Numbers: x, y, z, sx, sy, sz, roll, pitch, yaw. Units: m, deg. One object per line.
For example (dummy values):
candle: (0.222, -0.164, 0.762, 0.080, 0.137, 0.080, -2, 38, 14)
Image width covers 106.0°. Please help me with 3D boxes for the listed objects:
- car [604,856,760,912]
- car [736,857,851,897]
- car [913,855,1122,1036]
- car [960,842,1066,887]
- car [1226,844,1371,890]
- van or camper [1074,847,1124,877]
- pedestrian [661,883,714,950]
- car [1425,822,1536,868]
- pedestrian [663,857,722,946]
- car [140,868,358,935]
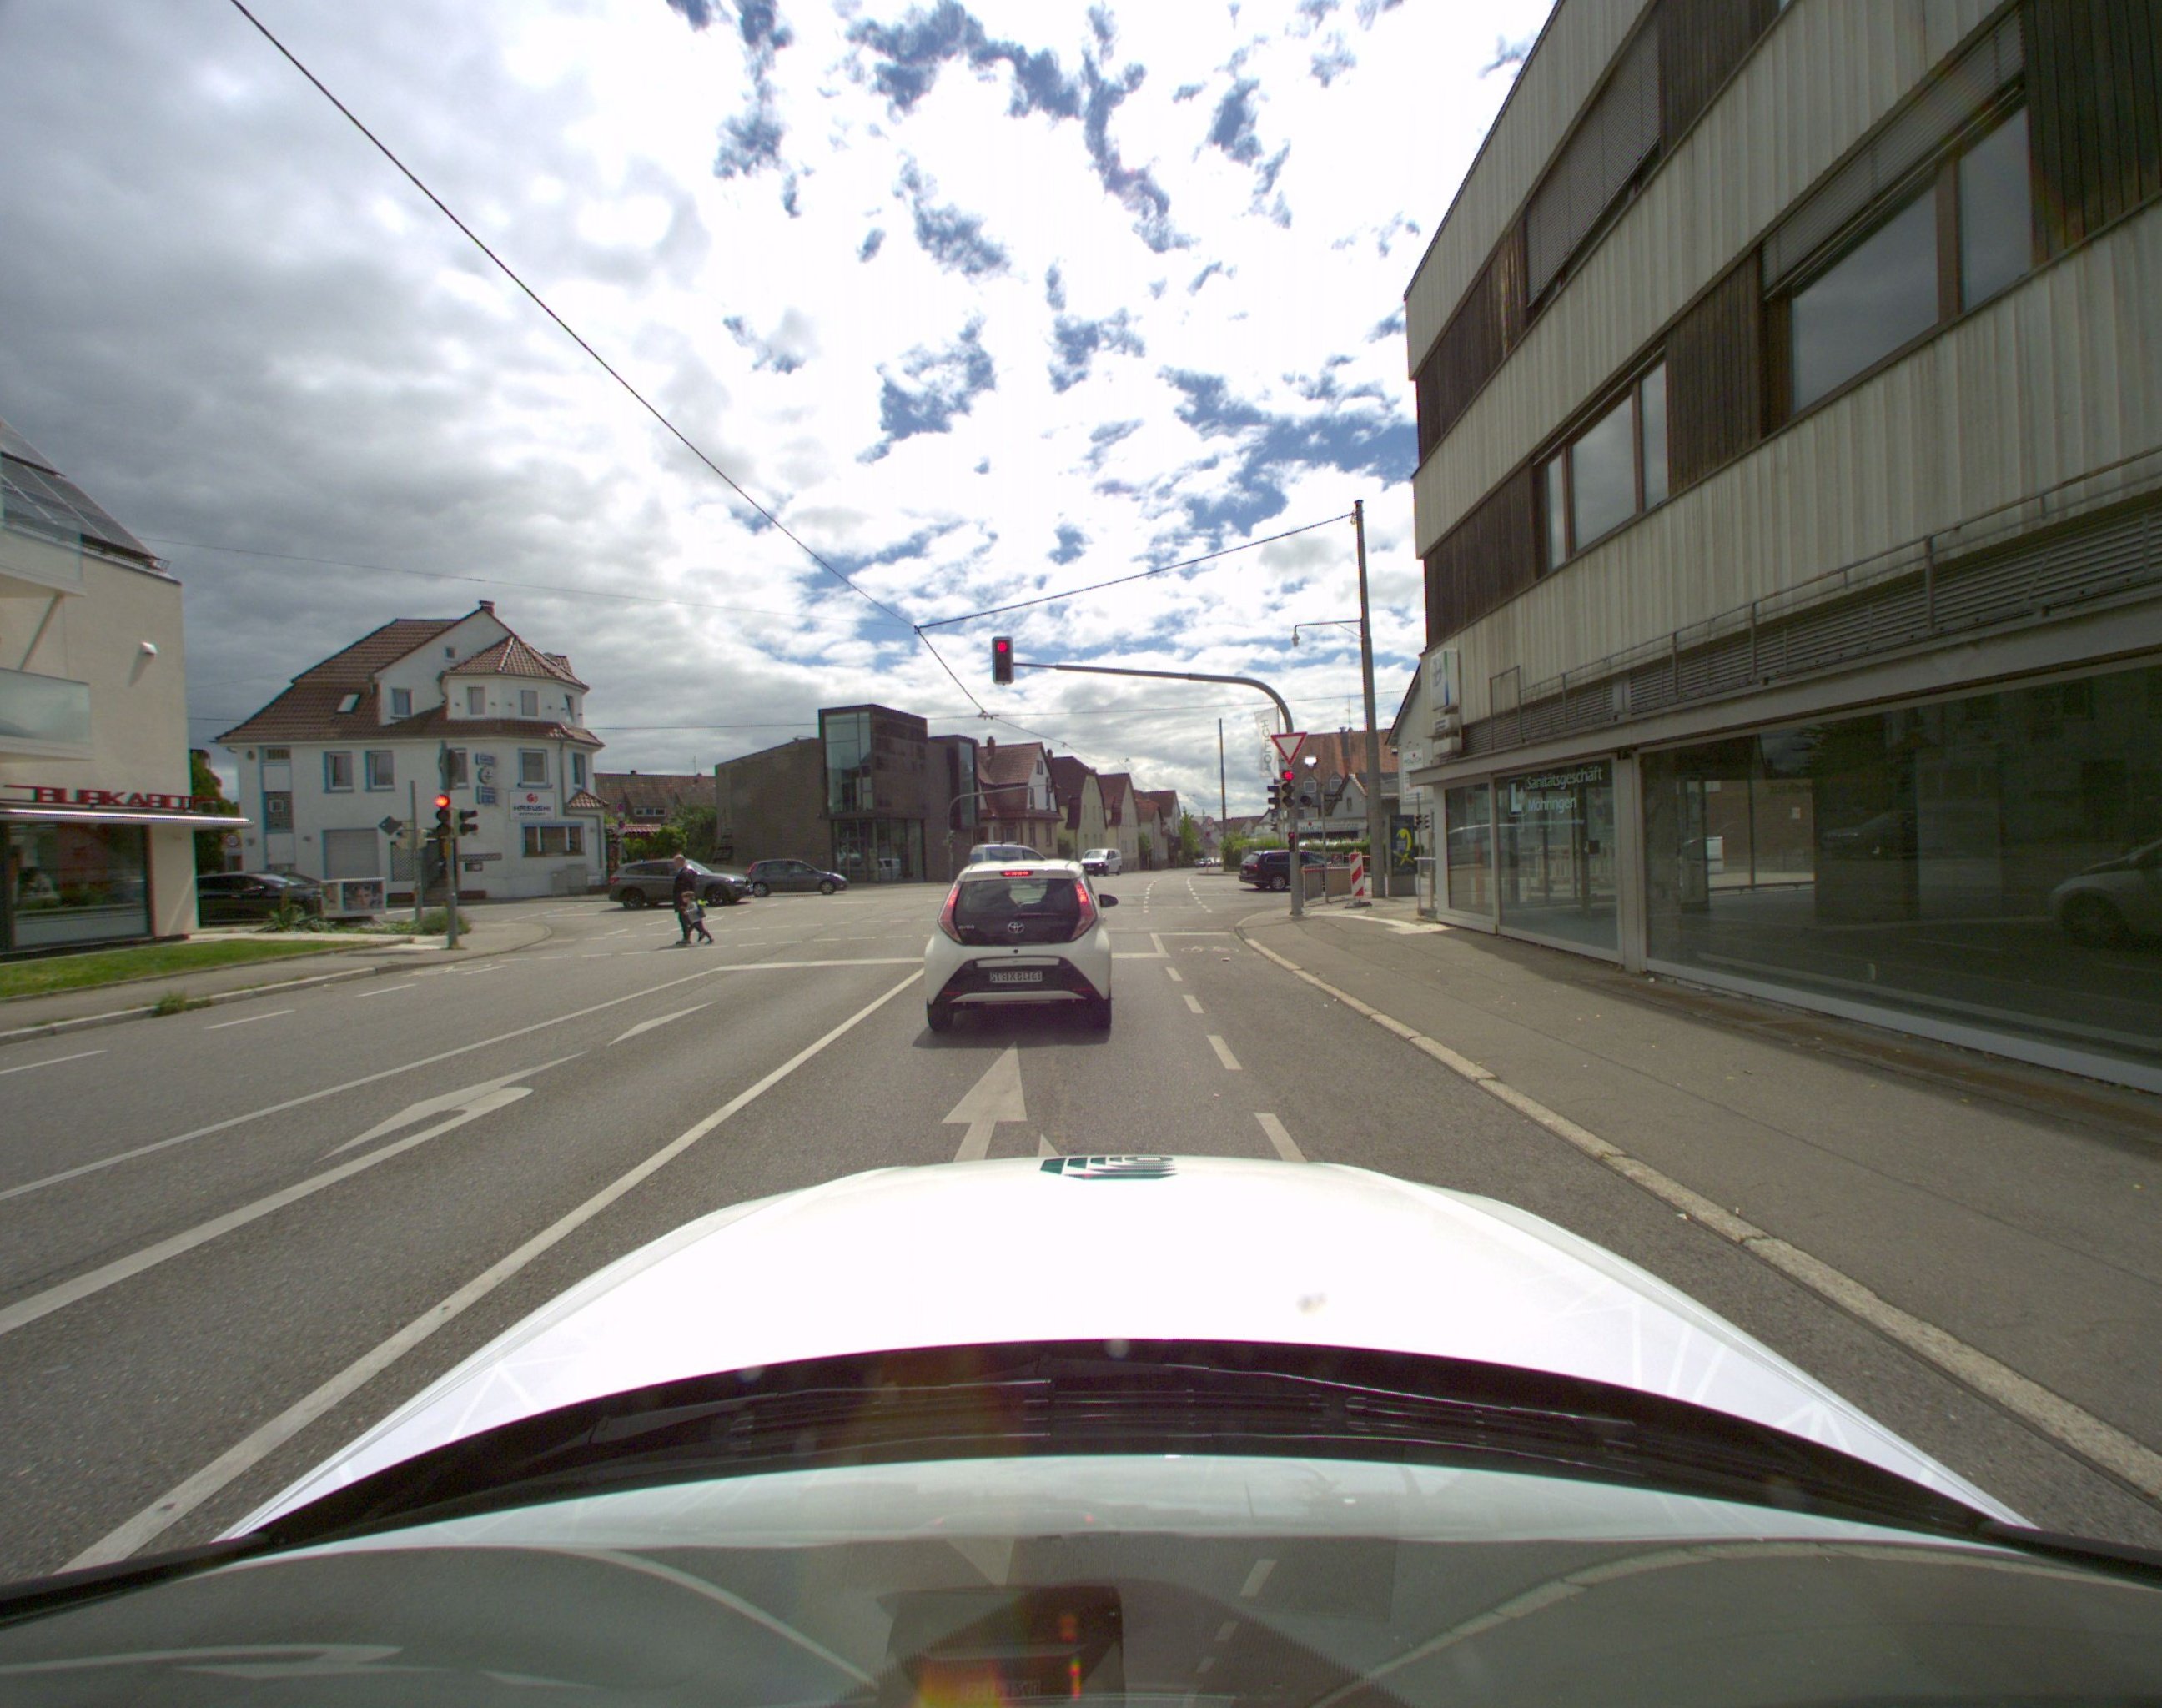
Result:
car: (-13.377, 0.964, 27.554, 4.291, 1.675, 1.994, -2, 0, -9)
car: (-11.228, 0.870, 32.045, 3.989, 1.486, 1.992, 0, 0, -12)
car: (-0.519, 0.746, 8.291, 1.692, 1.456, 3.298, 0, 0, 0)
car: (-2.902, 0.414, 34.883, 4.088, 1.849, 1.979, 0, 0, -33)
car: (8.127, 0.470, 30.618, 4.891, 1.577, 1.996, -1, 0, -7)
van or camper: (1.301, 0.523, 55.864, 2.099, 1.926, 5.308, 0, 0, 17)
pedestrian: (-7.601, 1.192, 15.756, 0.733, 1.221, 0.644, -2, 0, -9)
car: (16.741, -0.359, 34.166, 3.948, 1.838, 2.013, 0, 0, 34)
pedestrian: (-7.847, 0.945, 16.475, 0.822, 1.721, 0.815, -2, 0, -9)
car: (-26.333, 1.463, 25.951, 4.495, 1.742, 1.995, -2, 2, -7)
